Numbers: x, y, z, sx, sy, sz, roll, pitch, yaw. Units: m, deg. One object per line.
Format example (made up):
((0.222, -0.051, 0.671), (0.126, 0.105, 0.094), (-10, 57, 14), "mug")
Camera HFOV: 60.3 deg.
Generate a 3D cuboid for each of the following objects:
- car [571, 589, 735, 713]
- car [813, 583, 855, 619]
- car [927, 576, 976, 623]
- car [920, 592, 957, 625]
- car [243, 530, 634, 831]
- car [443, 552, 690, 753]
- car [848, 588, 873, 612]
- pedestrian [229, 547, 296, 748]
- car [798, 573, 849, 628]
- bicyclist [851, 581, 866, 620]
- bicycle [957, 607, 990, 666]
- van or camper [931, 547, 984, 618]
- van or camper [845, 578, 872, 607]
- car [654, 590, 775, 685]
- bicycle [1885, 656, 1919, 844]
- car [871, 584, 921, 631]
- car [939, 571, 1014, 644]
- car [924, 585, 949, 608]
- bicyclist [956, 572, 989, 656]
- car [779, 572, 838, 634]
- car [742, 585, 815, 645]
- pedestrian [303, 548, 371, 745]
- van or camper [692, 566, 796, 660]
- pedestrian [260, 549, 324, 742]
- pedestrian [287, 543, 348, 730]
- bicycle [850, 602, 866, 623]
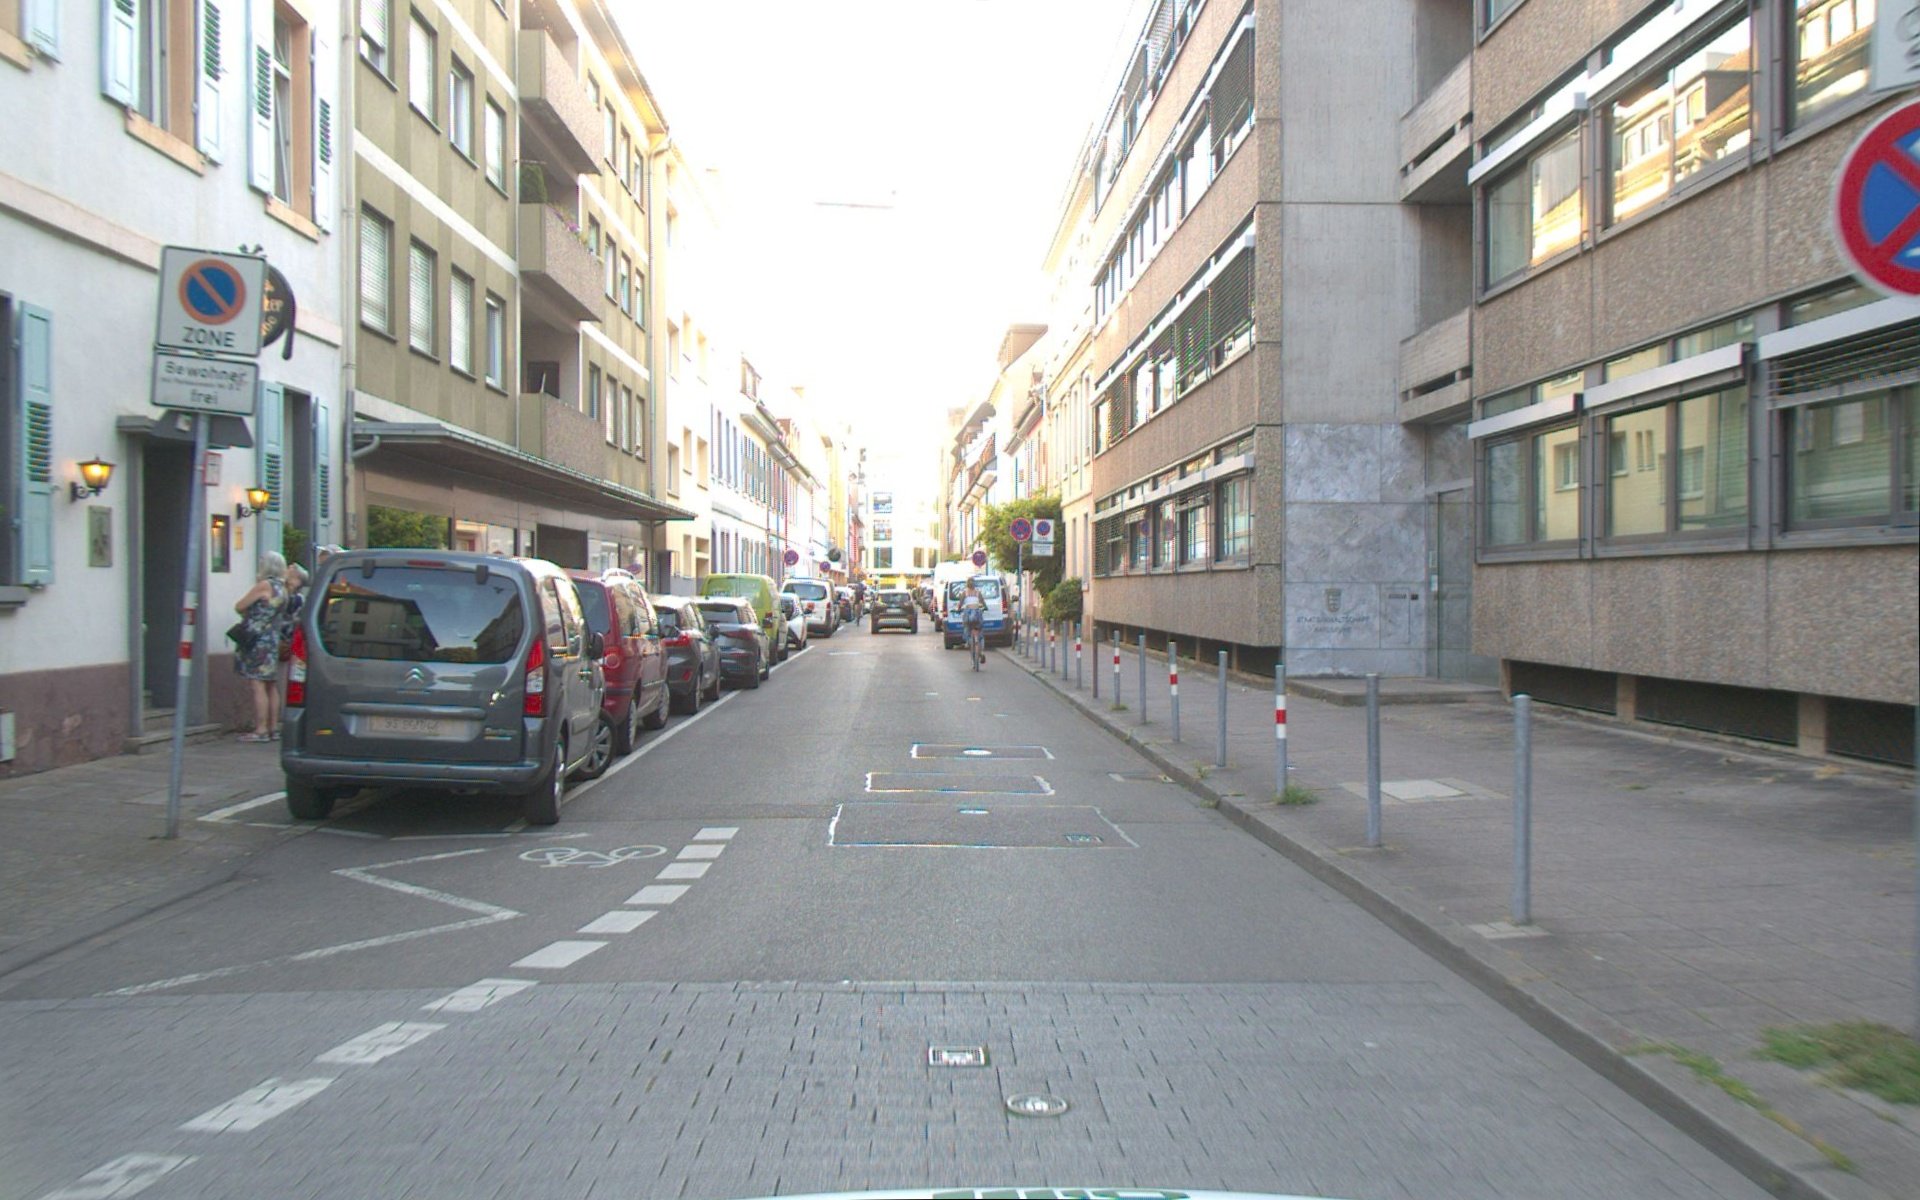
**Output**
((-4.048, 0.618, 22.333), (1.591, 1.511, 3.876), (-1, 0, -2), "car")
((-6.163, 0.035, 81.366), (1.766, 1.706, 4.489), (0, 0, 0), "car")
((-0.414, -0.029, 74.007), (1.902, 1.927, 5.315), (-4, 0, -2), "car")
((-1.094, 0.405, 86.267), (1.782, 1.556, 5.070), (-4, 0, 0), "car")
((-3.646, 0.491, 12.429), (1.840, 1.843, 4.446), (1, 0, -5), "car")
((-4.003, 0.473, 17.549), (1.737, 1.843, 4.508), (1, 0, -3), "car")
((-6.961, -0.016, 115.740), (1.620, 1.588, 3.604), (1, 0, -2), "car")
((-6.279, 0.419, 14.901), (0.398, 1.780, 0.470), (0, 0, -1), "pedestrian")
((-5.245, -0.014, 64.232), (1.825, 2.049, 4.811), (0, 0, -3), "car")
((-4.487, 0.021, 72.945), (0.611, 1.668, 1.081), (0, 0, -2), "bicyclist")
((0.247, 0.686, 32.077), (0.601, 1.101, 1.809), (0, 0, -1), "bicycle")
((-0.150, -0.689, 66.557), (2.008, 2.683, 7.061), (0, 0, -1), "van or camper")
((-7.445, -0.534, 121.466), (1.807, 2.048, 4.677), (1, 0, -2), "van or camper")
((-3.980, 0.572, 27.307), (1.592, 1.440, 3.978), (1, 0, -3), "car")
((5.690, 0.768, 8.465), (1.707, 0.939, 0.537), (0, 0, -9), "bicycle")
((-2.389, 0.269, 61.964), (1.783, 1.646, 3.998), (1, 0, -2), "car")
((0.405, 0.176, 46.472), (1.897, 1.931, 5.275), (-1, 0, -1), "car")
((-1.661, -0.266, 116.008), (1.620, 1.588, 3.604), (1, 0, -2), "car")
((0.243, 0.270, 32.064), (0.608, 1.602, 0.683), (0, 0, -1), "bicyclist")
((-5.227, 0.079, 57.550), (1.825, 2.049, 5.103), (0, 0, -3), "car")
((-4.866, 0.393, 44.694), (1.629, 1.474, 3.519), (3, 0, -2), "car")
((-5.737, 0.421, 15.237), (0.440, 1.780, 0.470), (0, 0, -1), "pedestrian")
((-4.549, 0.243, 35.341), (1.736, 1.880, 4.177), (-1, 0, -1), "van or camper")
((-6.242, 0.418, 15.460), (0.398, 1.780, 0.470), (0, 0, -1), "pedestrian")
((-6.225, 0.347, 16.034), (0.398, 1.780, 0.470), (0, 0, -1), "pedestrian")
((-4.497, 0.549, 73.018), (0.621, 0.938, 1.779), (0, 0, -2), "bicycle")
